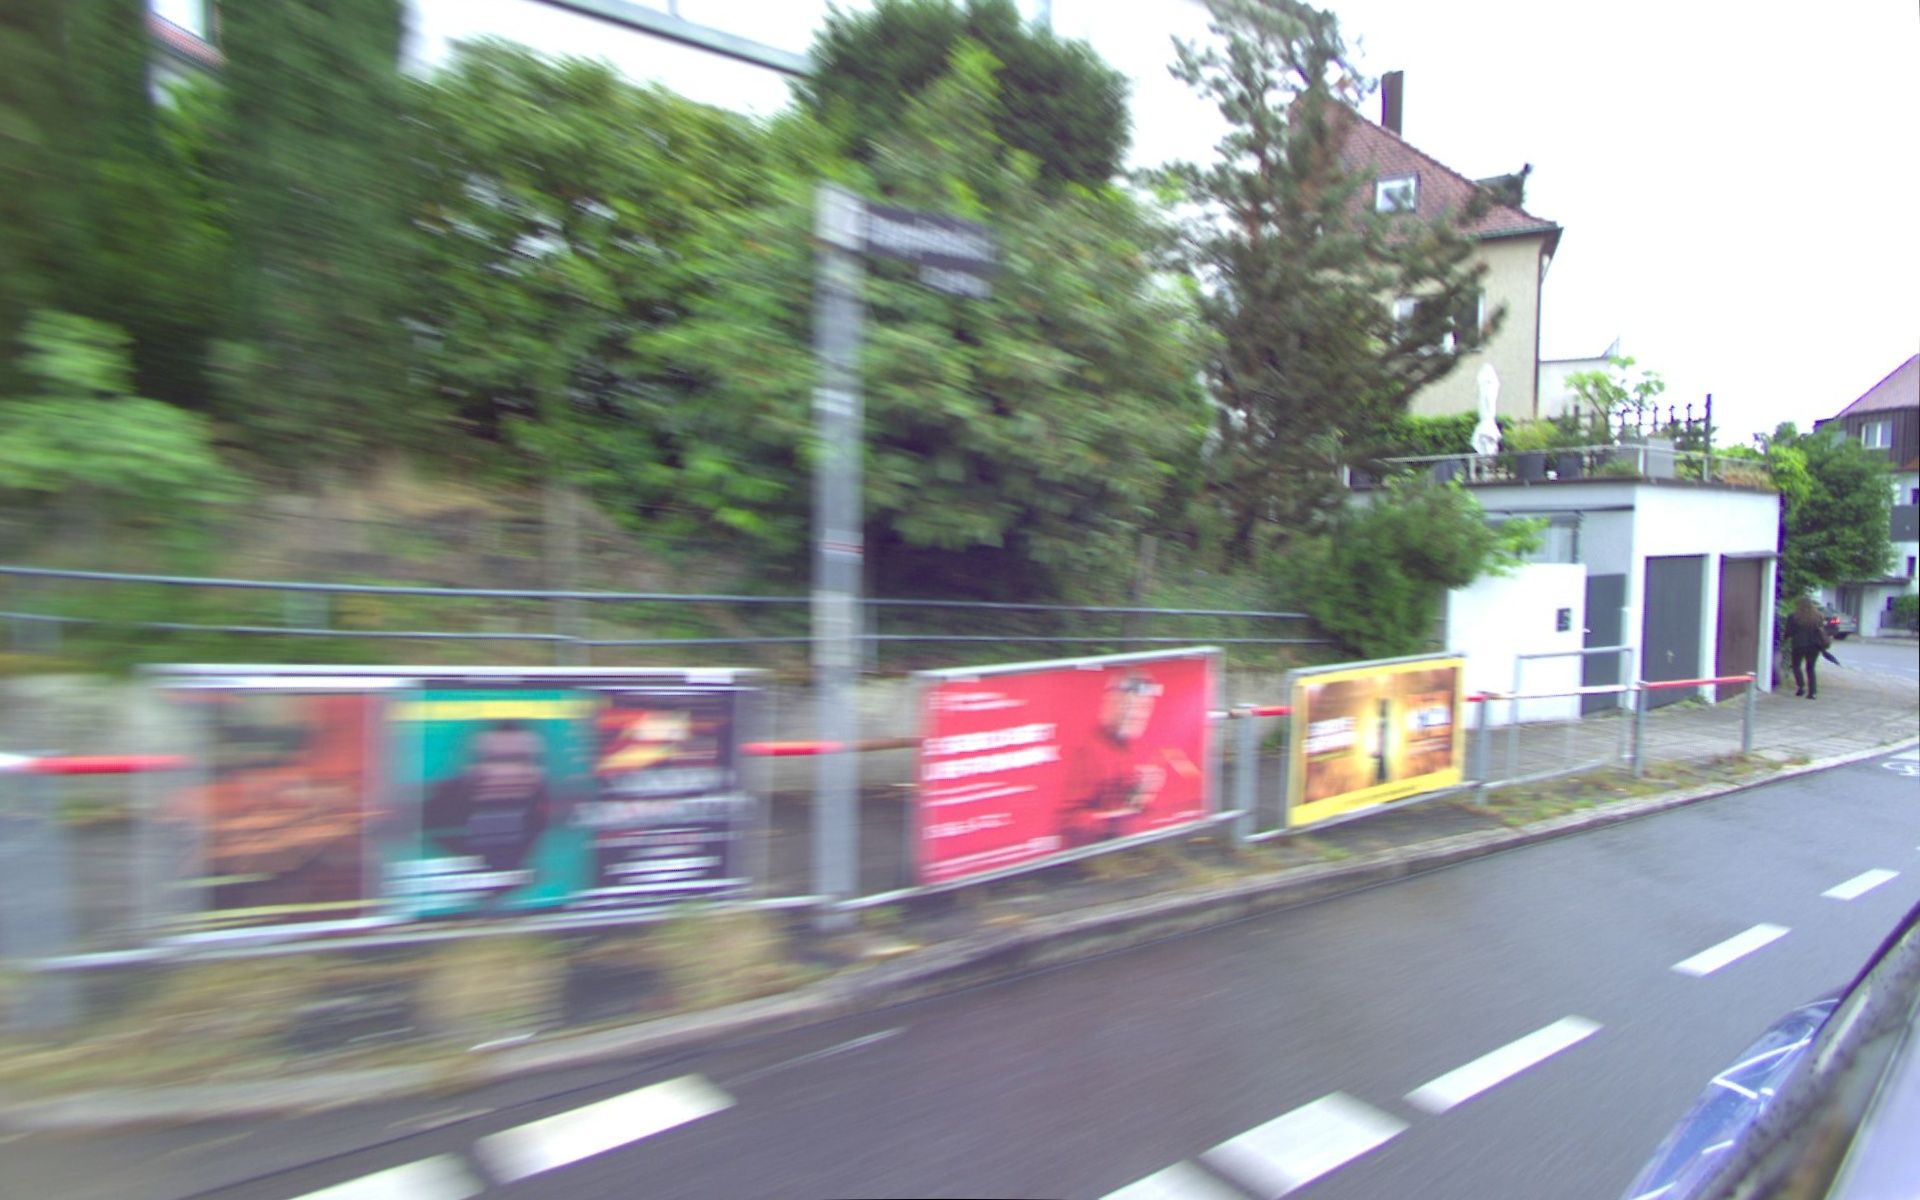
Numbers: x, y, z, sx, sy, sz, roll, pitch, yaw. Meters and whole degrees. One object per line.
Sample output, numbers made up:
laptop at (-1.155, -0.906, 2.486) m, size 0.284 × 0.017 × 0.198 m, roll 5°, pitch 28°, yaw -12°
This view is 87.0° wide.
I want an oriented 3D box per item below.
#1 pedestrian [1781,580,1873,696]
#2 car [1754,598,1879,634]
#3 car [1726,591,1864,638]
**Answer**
pedestrian at (13.942, 0.584, 16.277) m, size 1.040 × 1.743 × 0.806 m, roll 1°, pitch 3°, yaw -36°
car at (37.983, 0.672, 45.049) m, size 1.806 × 1.443 × 4.233 m, roll 0°, pitch 1°, yaw -3°
car at (34.797, 0.549, 42.365) m, size 1.842 × 1.509 × 4.636 m, roll 6°, pitch 2°, yaw 2°
